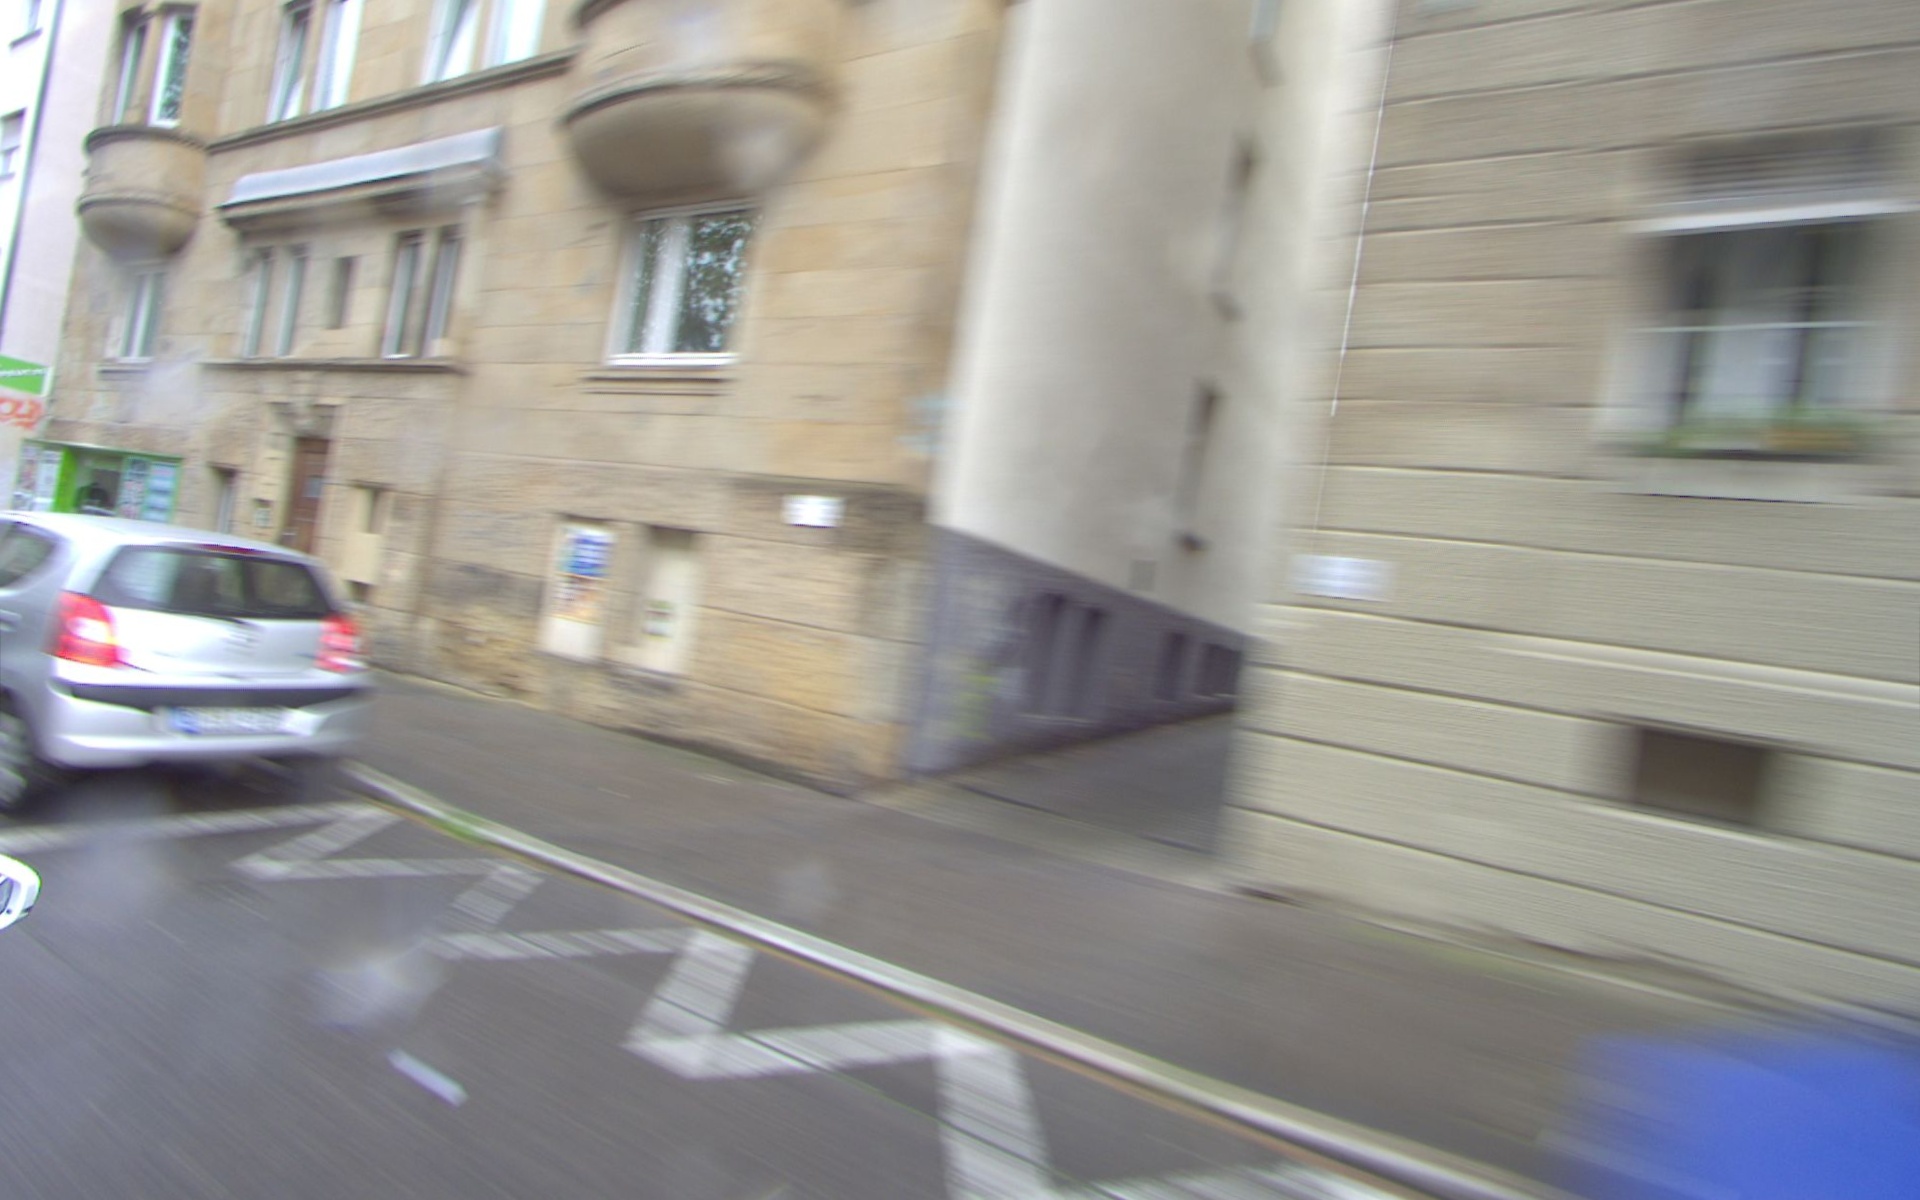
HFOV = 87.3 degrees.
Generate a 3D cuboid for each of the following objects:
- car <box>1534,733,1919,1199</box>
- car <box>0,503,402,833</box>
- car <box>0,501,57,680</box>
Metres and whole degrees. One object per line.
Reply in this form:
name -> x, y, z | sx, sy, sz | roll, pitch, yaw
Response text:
car -> 2.660, 1.156, 1.137 | 3.388, 1.431, 1.547 | 7, -2, 30
car -> -5.312, 0.216, 6.111 | 3.621, 1.451, 1.594 | 7, -1, 29
car -> -9.746, -0.316, 8.719 | 3.889, 1.451, 1.671 | 7, -1, 30
